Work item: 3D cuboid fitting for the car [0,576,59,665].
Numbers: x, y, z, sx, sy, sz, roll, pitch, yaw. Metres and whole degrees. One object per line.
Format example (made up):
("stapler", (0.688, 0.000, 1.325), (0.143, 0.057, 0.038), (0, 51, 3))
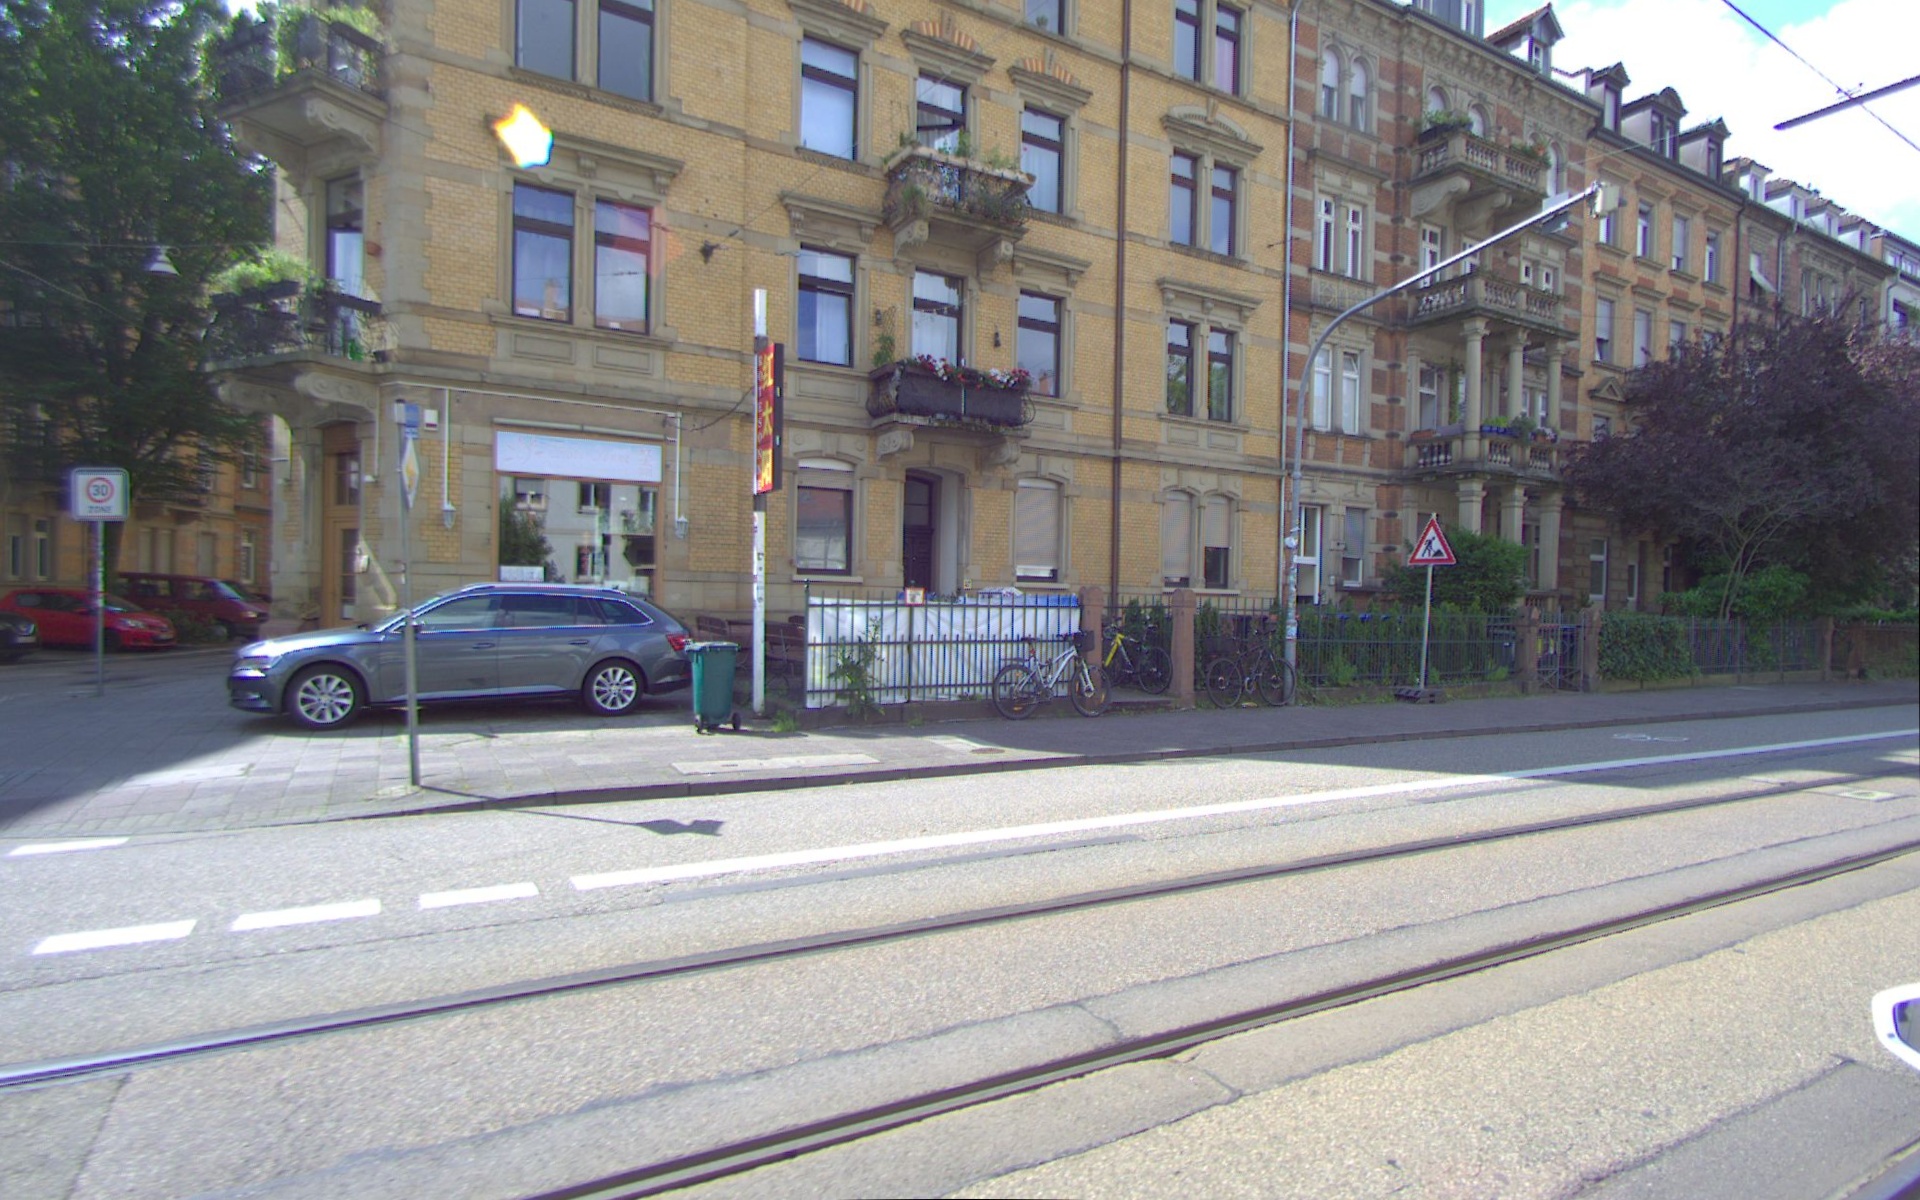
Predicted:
("car", (-20.838, 0.368, 20.102), (3.926, 1.744, 1.618), (1, 0, -8))

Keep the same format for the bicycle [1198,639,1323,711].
("bicycle", (4.323, 1.055, 14.411), (1.945, 0.959, 0.527), (1, 0, -31))

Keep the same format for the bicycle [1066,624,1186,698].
("bicycle", (2.364, 0.849, 14.555), (0.526, 0.959, 1.949), (1, 0, -34))

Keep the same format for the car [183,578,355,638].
("car", (-23.774, 0.289, 34.727), (4.429, 1.807, 1.894), (3, 0, -8))

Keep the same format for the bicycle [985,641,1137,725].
("bicycle", (1.285, 1.007, 12.540), (1.945, 0.959, 0.527), (1, 0, -31))

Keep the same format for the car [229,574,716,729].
("car", (-5.373, 0.540, 11.550), (4.708, 1.479, 1.677), (1, 0, -30))

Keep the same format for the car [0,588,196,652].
("car", (-21.906, 0.494, 25.298), (3.926, 1.517, 1.618), (1, 0, -8))

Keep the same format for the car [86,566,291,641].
("car", (-22.823, 0.116, 29.875), (4.429, 2.092, 1.894), (1, 0, -8))

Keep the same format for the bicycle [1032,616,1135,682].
("bicycle", (1.958, 0.769, 16.239), (0.526, 0.959, 1.950), (1, 0, -32))

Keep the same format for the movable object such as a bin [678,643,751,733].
("movable object such as a bin", (-2.669, 0.942, 10.900), (0.629, 0.918, 0.522), (1, 0, -31))
